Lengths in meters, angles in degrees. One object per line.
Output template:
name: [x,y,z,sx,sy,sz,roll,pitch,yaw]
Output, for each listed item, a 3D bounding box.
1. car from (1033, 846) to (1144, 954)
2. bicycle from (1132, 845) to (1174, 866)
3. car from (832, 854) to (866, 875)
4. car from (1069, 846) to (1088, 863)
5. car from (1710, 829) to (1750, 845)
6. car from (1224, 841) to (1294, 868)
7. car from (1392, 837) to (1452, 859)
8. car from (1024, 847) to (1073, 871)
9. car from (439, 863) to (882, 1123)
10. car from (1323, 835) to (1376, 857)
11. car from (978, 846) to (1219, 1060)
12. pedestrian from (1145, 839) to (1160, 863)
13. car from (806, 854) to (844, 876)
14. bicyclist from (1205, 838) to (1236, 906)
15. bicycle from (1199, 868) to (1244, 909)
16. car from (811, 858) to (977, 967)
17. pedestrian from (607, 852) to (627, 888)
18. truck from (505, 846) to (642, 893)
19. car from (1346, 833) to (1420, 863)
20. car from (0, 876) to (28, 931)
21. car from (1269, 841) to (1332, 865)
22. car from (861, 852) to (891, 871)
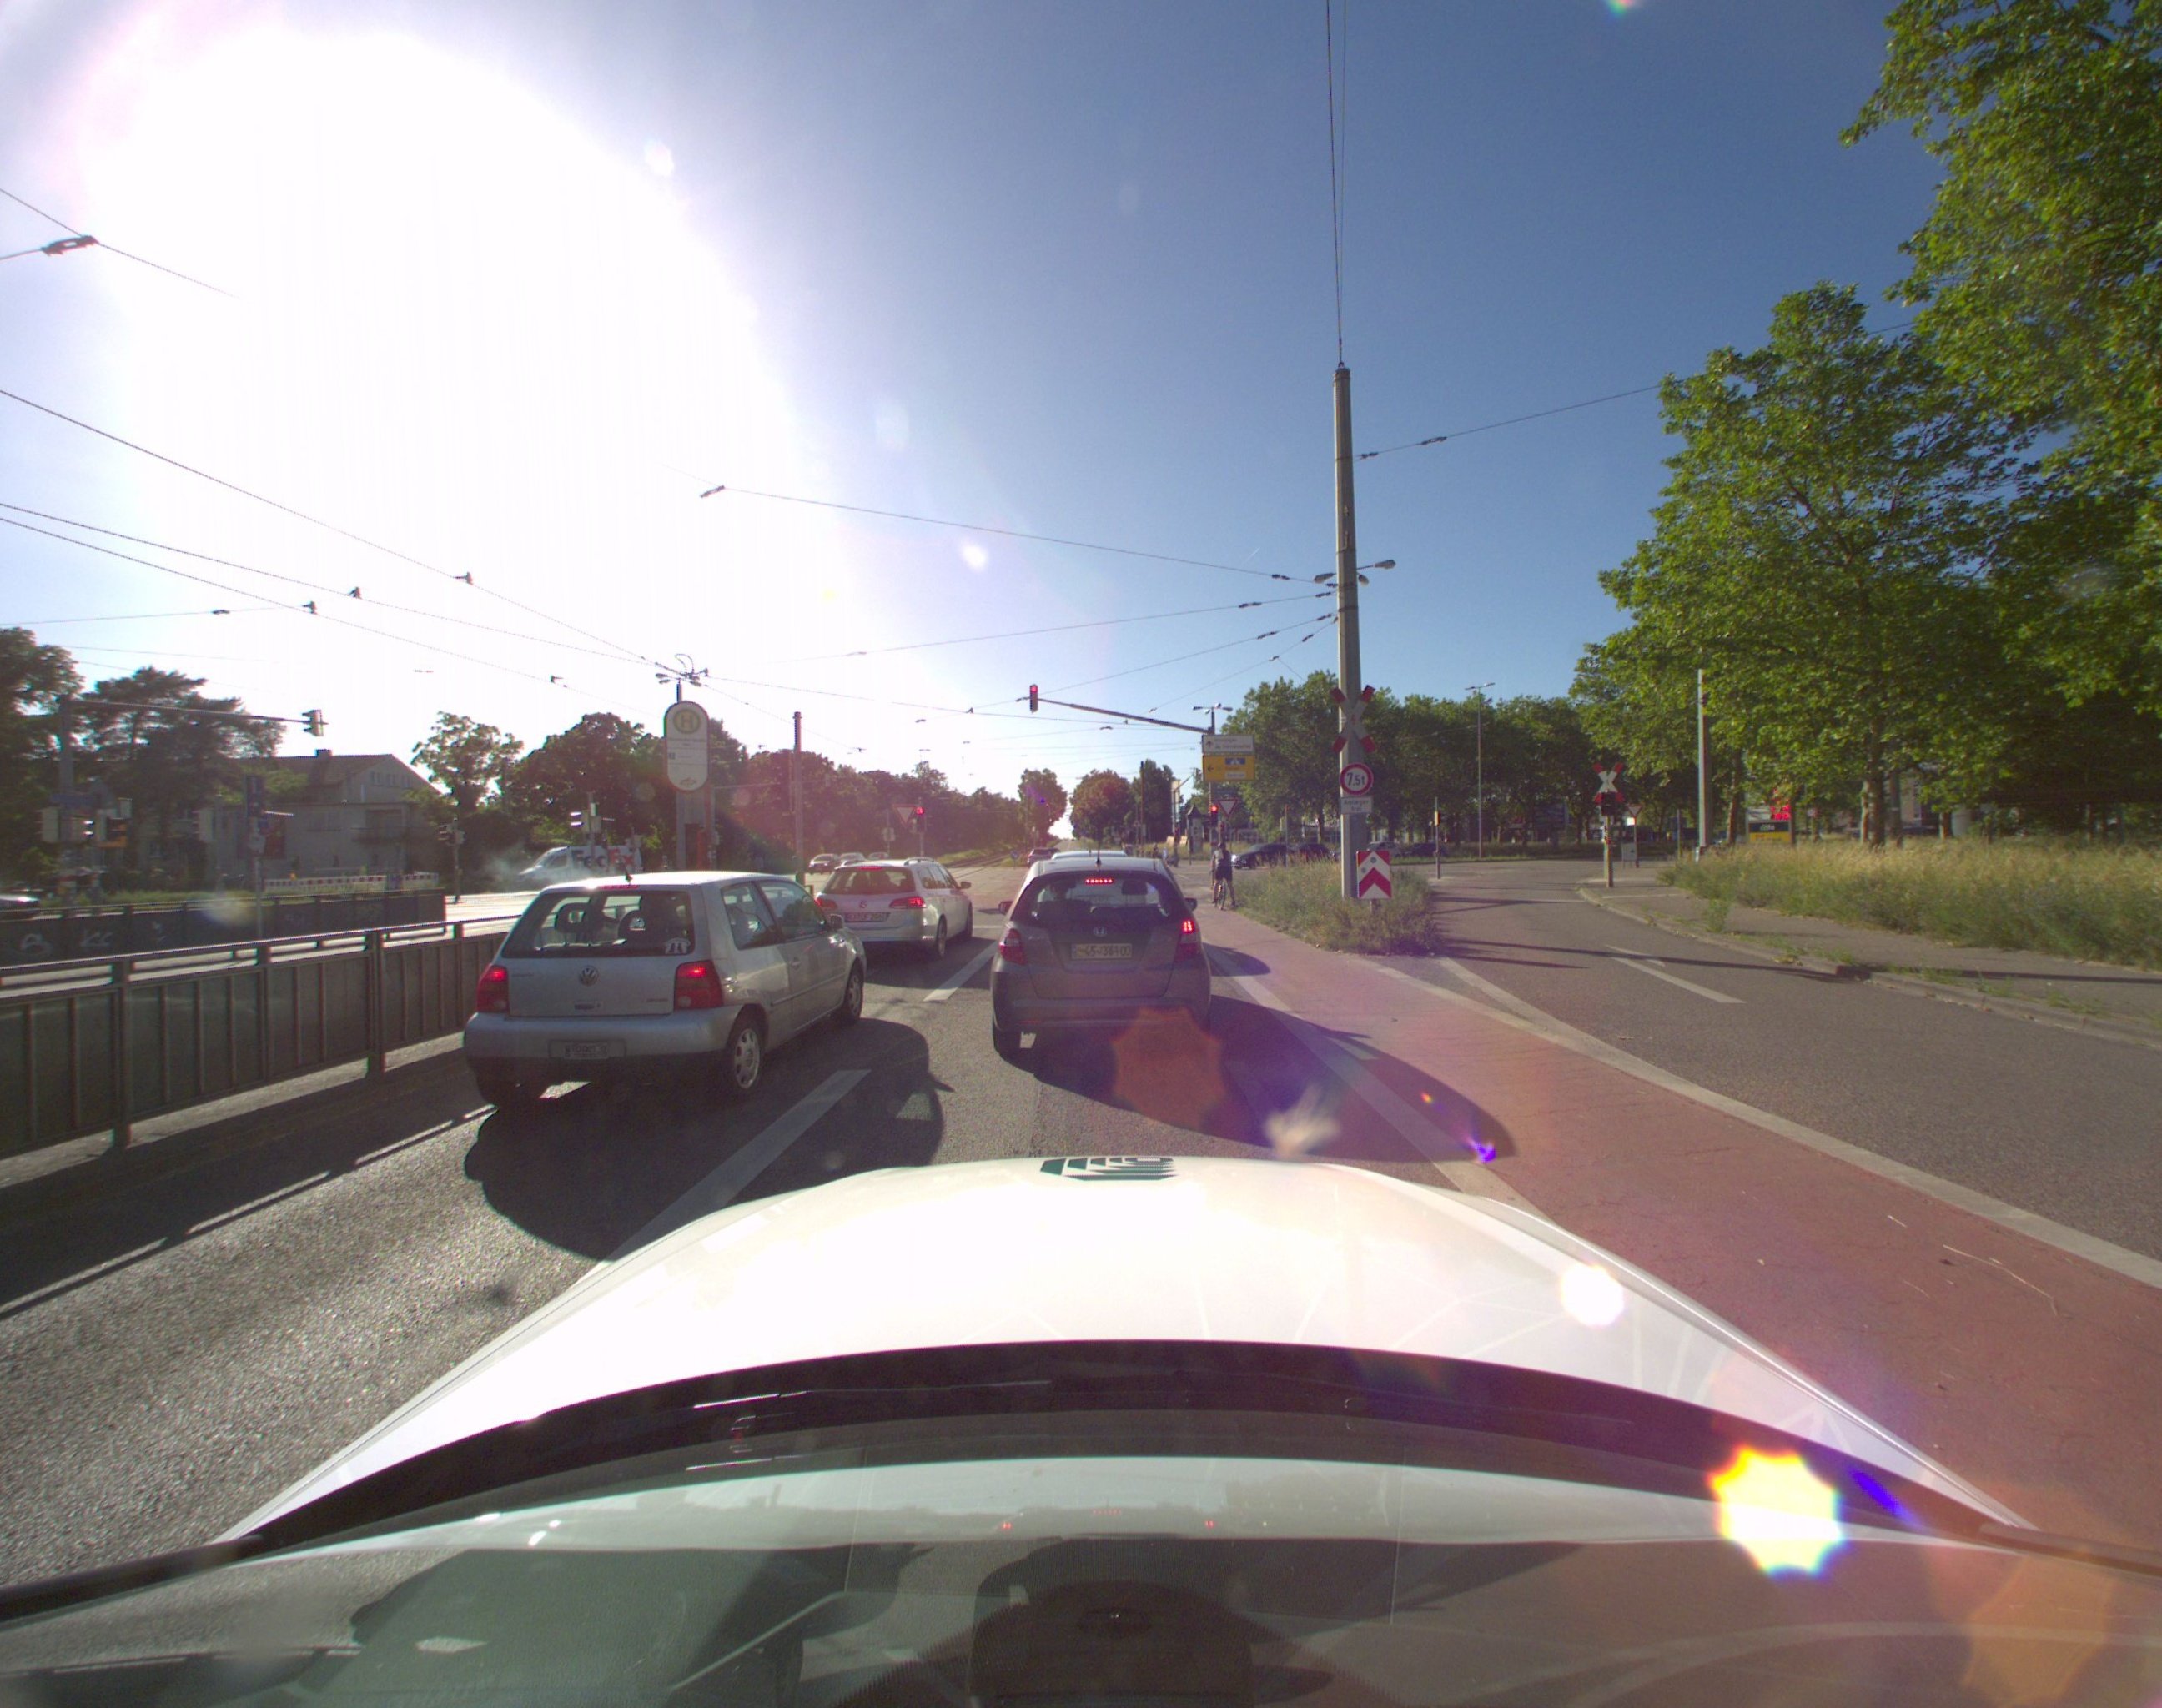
car: [0.153,0.680,14.137,1.605,1.562,4.289,-1,0,1]
bicycle: [5.585,0.122,62.946,3.218,1.574,0.815,-2,0,-24]
car: [-18.907,0.825,66.503,1.829,1.548,4.277,-2,0,-5]
car: [-0.194,0.061,70.080,1.517,1.378,3.677,-2,0,2]
car: [66.624,-1.712,83.633,4.006,1.501,1.580,-2,0,-25]
car: [11.023,0.043,50.376,3.982,1.544,1.582,-2,0,-19]
car: [27.321,-0.470,65.217,4.526,1.574,1.681,-2,0,-21]
car: [-2.127,0.293,54.867,1.695,1.478,4.022,-2,0,23]
car: [-2.821,0.817,6.340,1.613,1.417,3.352,-2,0,1]
car: [20.677,-0.650,62.694,3.757,1.570,1.480,-2,0,-21]
car: [0.116,0.689,7.497,1.663,1.462,3.585,-1,0,-1]
pedestrian: [5.533,-0.245,62.939,0.856,1.836,0.784,-2,0,-24]
car: [-19.009,0.816,60.711,1.829,1.548,3.993,-2,0,-5]
bicyclist: [3.639,0.461,21.230,0.663,1.716,0.948,0,-1,1]
bicycle: [3.640,0.867,21.307,0.719,0.989,2.876,0,0,1]
car: [-2.770,0.799,12.987,1.613,1.457,4.086,-1,0,1]
pedestrian: [-26.526,0.931,46.556,0.748,2.013,0.788,-2,0,-11]
truck: [-30.693,0.867,49.574,1.974,2.565,6.866,-1,0,30]
car: [21.964,-0.446,59.254,4.906,2.013,1.986,-2,0,-22]
car: [-32.018,1.445,21.503,4.844,1.497,1.771,-2,0,-25]
car: [15.025,-0.083,55.797,4.002,1.531,1.594,-2,0,-22]
car: [-18.773,0.680,74.759,1.991,1.604,4.745,0,0,-6]
